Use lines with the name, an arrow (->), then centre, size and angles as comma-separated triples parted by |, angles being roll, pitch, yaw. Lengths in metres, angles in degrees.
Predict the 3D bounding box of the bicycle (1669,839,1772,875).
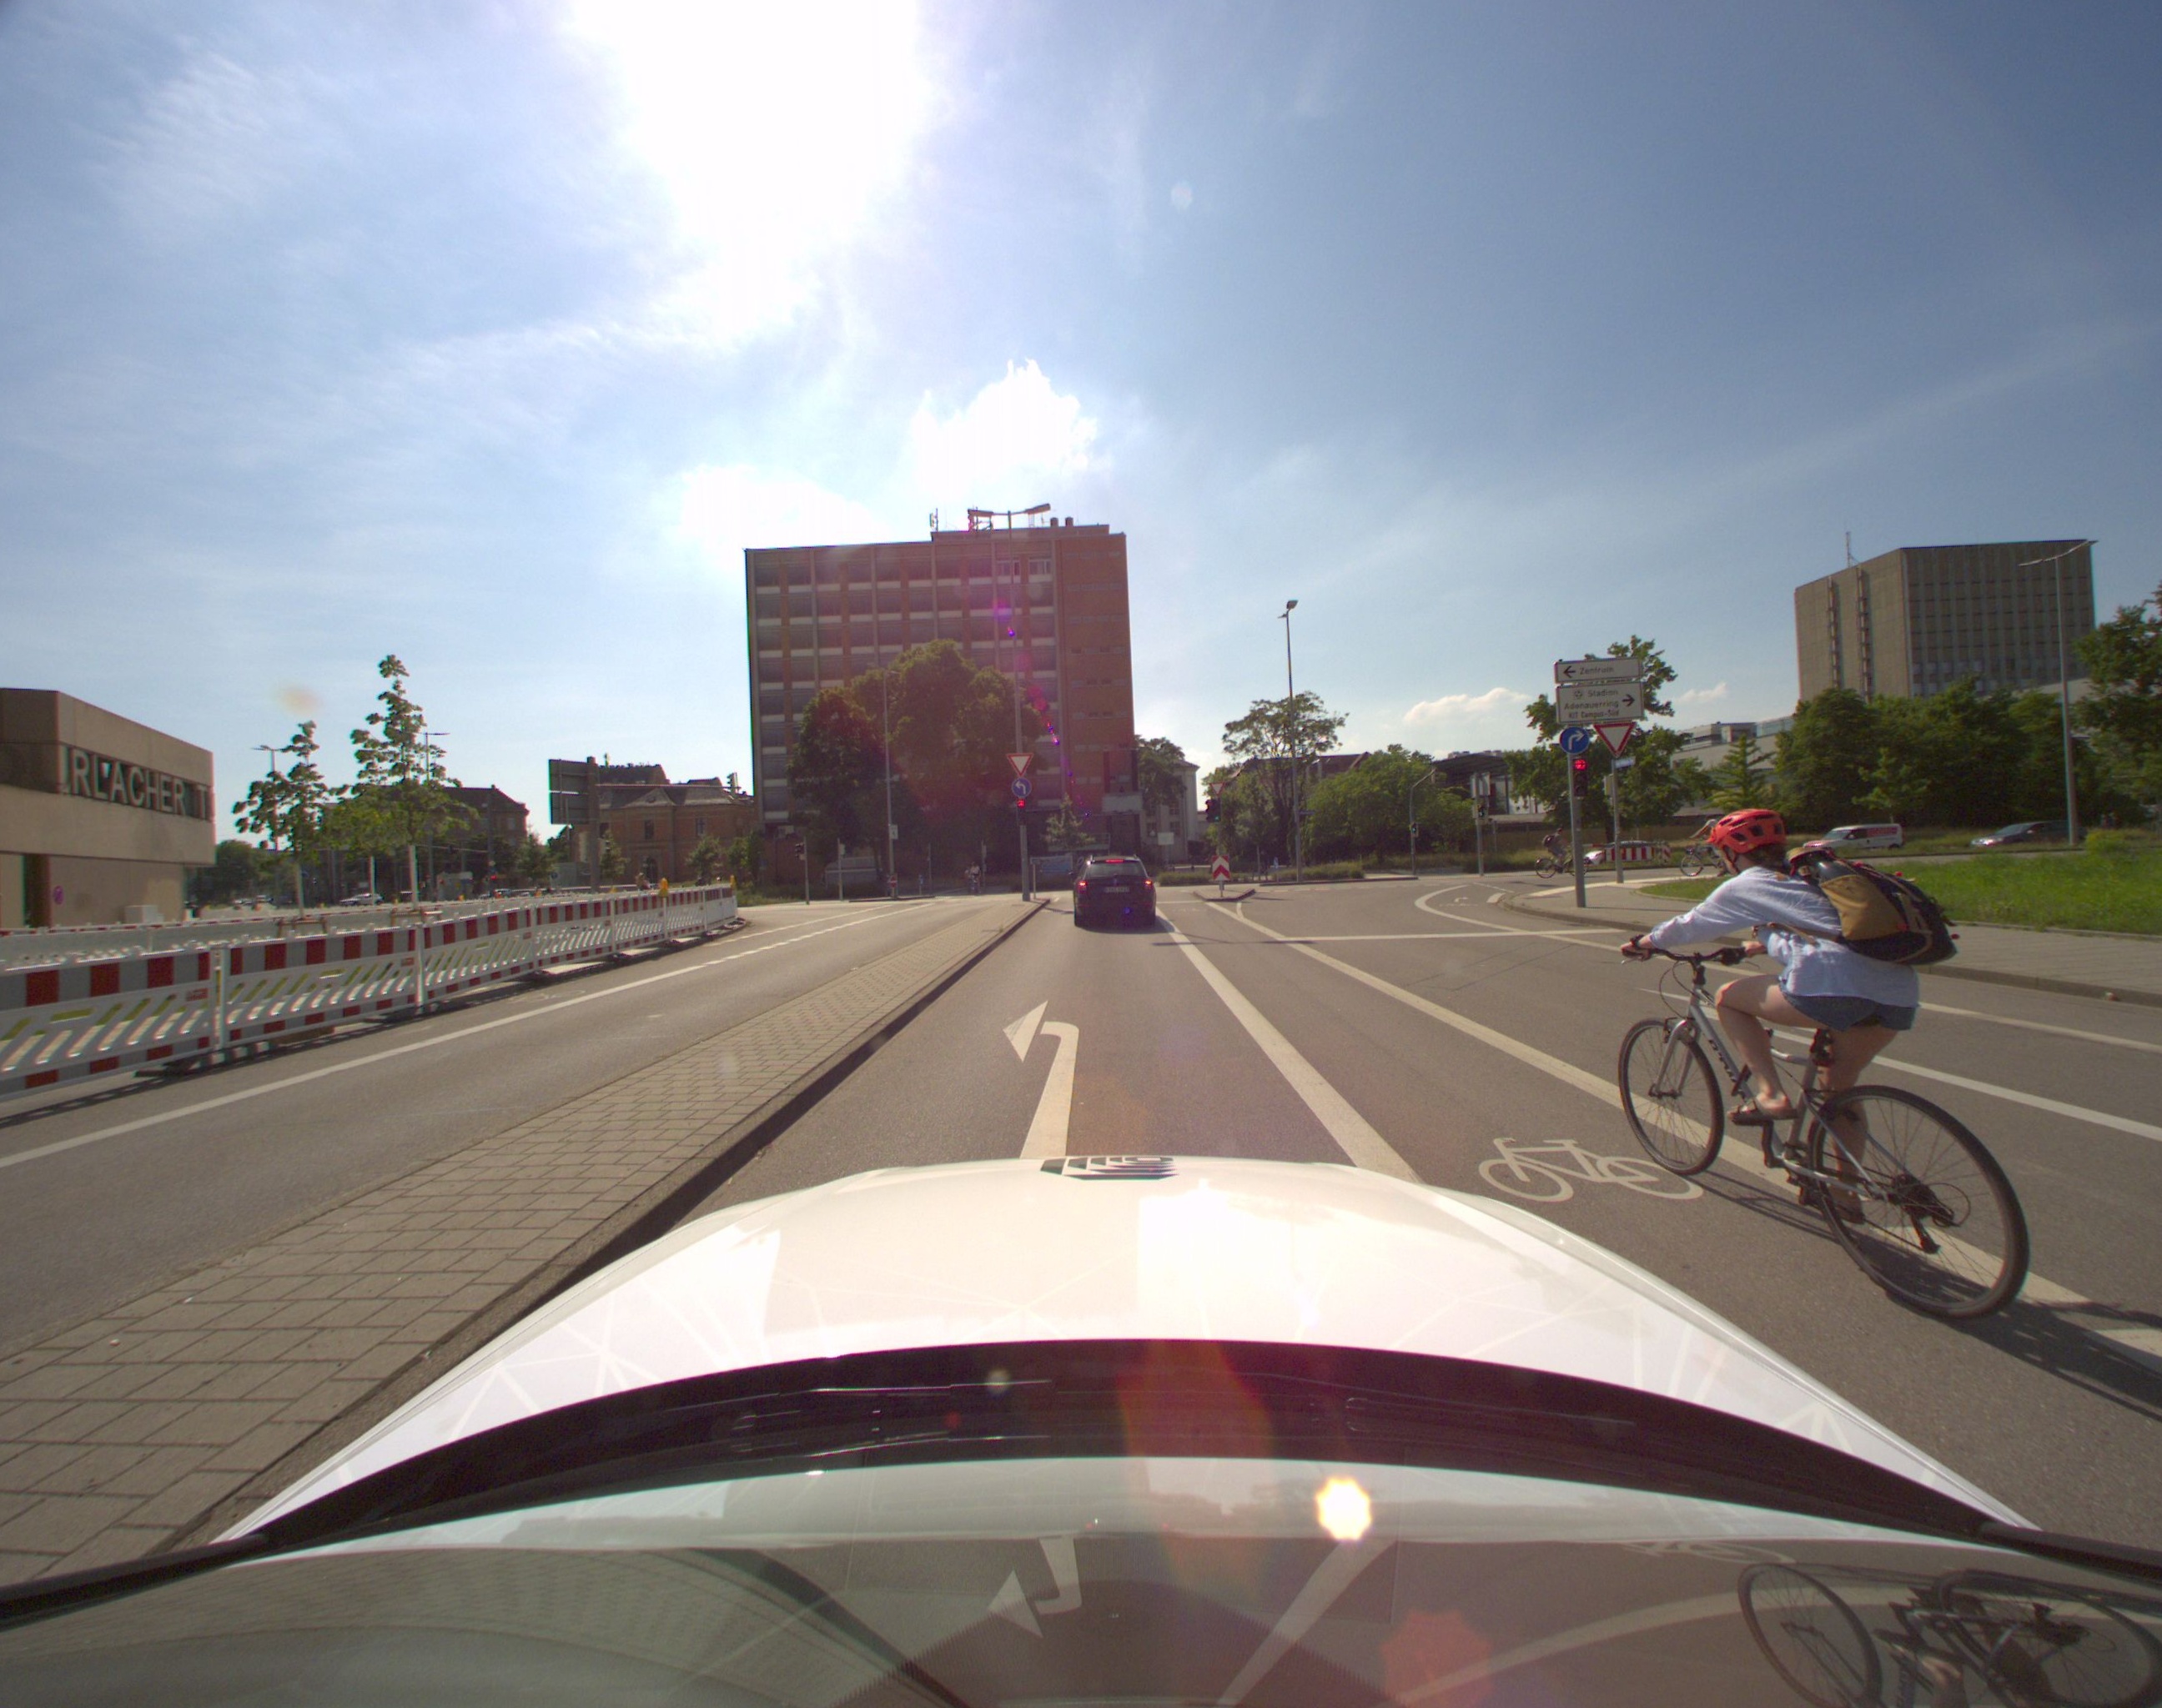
bicycle -> 17.906, 0.102, 22.850 | 0.678, 0.916, 2.143 | -3, 0, -41

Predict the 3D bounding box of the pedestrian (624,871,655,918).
pedestrian -> -16.923, 1.555, 31.215 | 0.737, 1.752, 1.105 | -3, -3, -14

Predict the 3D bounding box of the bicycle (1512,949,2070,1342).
bicycle -> 2.672, 0.994, 3.465 | 0.594, 0.931, 2.028 | -2, 0, 0

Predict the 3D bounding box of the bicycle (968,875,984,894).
bicycle -> -5.766, 1.664, 44.685 | 0.617, 0.961, 1.966 | -5, 0, -3

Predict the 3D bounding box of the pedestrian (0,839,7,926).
pedestrian -> -22.389, 0.593, 16.512 | 0.538, 1.778, 0.572 | -3, -1, 22

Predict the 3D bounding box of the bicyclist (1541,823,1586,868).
bicyclist -> 16.558, -0.293, 27.982 | 1.157, 1.474, 0.566 | -3, 0, 14

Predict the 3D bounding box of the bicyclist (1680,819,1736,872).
bicyclist -> 17.744, -0.224, 23.054 | 0.499, 1.470, 1.129 | 1, -2, -40

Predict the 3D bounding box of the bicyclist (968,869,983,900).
bicyclist -> -5.754, 1.663, 44.459 | 0.617, 1.581, 1.013 | -5, 0, -3

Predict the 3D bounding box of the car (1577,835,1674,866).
car -> 30.126, -0.180, 45.147 | 3.973, 1.464, 2.000 | -3, -1, 1

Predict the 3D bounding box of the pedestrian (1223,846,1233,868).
pedestrian -> 12.475, 0.259, 69.063 | 0.634, 1.874, 0.797 | -4, 0, 1

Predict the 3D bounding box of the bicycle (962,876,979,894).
bicycle -> -6.813, 1.908, 50.163 | 0.702, 0.977, 2.030 | -3, 0, 0

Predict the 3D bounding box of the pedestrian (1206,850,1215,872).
pedestrian -> 11.155, 0.590, 70.347 | 0.591, 1.875, 0.642 | 0, -2, 25

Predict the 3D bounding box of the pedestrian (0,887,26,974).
pedestrian -> -21.733, 1.544, 16.313 | 0.534, 1.708, 0.572 | -3, -1, 22

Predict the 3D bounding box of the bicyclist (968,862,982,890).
bicyclist -> -5.802, 1.202, 44.603 | 0.617, 1.443, 0.919 | -5, 0, -3

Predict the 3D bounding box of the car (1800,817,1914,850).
car -> 42.123, -1.090, 44.289 | 4.294, 1.569, 1.910 | -3, 0, 1

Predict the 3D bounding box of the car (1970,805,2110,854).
car -> 46.267, -1.159, 39.373 | 3.966, 2.014, 2.004 | -3, -3, 7

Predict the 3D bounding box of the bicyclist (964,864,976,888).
bicyclist -> -6.826, 1.367, 50.199 | 0.537, 1.417, 1.030 | -4, -1, 0

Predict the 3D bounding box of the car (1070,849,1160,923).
car -> 0.748, 0.648, 18.159 | 1.773, 1.443, 3.820 | -1, 0, 2

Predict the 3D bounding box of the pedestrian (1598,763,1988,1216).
pedestrian -> 2.659, 0.446, 3.180 | 0.581, 1.466, 1.013 | -2, -1, -1

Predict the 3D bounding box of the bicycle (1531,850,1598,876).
bicycle -> 16.575, 0.323, 27.969 | 1.876, 0.792, 0.562 | -3, 1, 14

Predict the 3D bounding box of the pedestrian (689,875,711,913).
pedestrian -> -15.334, 1.603, 32.800 | 0.632, 1.491, 0.614 | -3, 0, -15

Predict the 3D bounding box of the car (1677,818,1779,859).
car -> 35.817, -0.817, 45.179 | 3.970, 2.013, 2.002 | -3, 0, 3

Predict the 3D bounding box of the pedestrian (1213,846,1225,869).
pedestrian -> 11.895, 0.283, 70.054 | 0.787, 1.874, 0.642 | -4, 0, 22
